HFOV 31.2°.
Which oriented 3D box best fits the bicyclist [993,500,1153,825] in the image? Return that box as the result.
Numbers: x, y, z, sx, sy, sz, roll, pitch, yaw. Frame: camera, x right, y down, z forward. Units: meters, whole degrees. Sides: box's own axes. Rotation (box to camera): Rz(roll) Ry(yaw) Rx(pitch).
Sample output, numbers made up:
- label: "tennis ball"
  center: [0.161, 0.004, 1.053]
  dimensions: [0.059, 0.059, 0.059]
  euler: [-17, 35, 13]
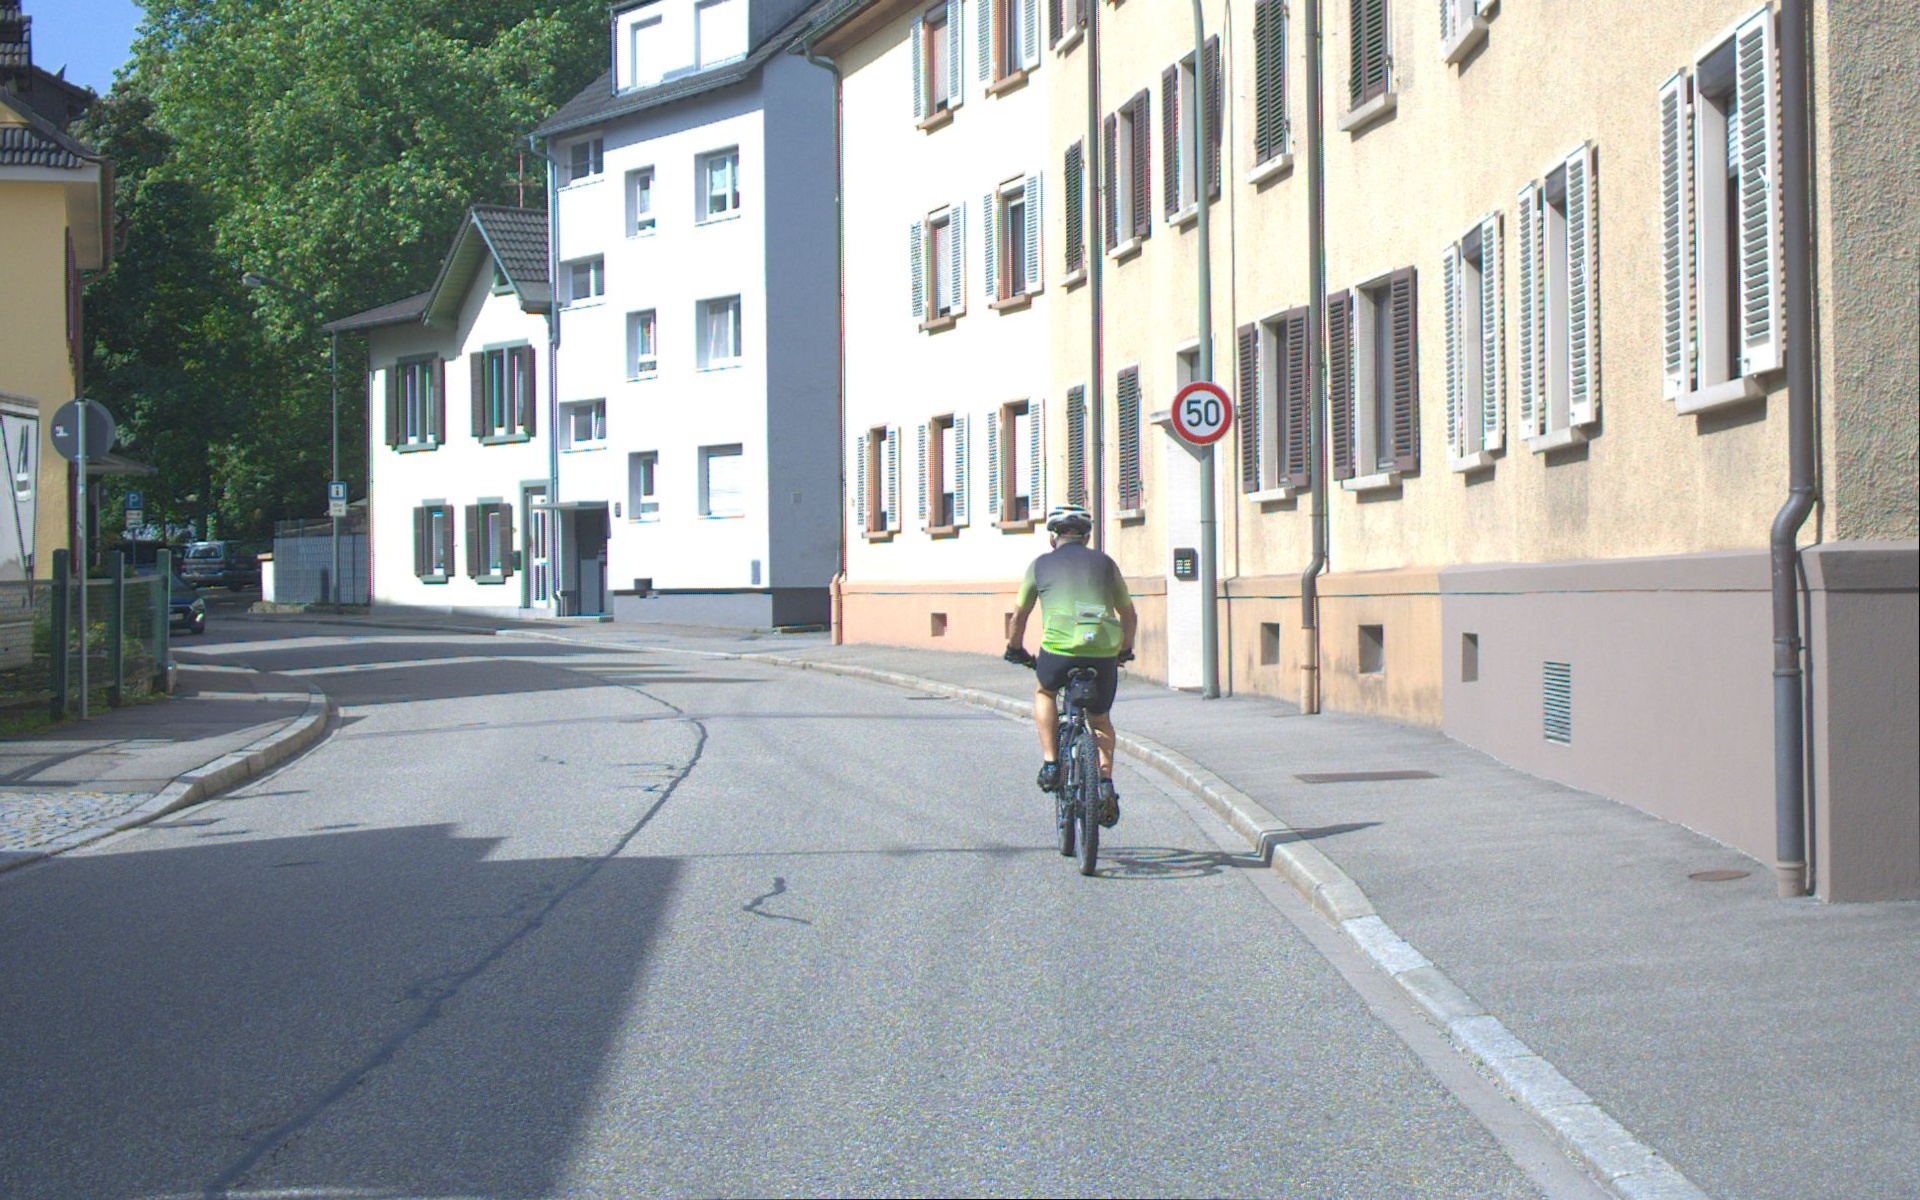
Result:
- label: "bicyclist"
  center: [0.539, 0.294, 16.661]
  dimensions: [0.685, 1.526, 0.716]
  euler: [-1, 0, -3]

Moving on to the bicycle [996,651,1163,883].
- label: "bicycle"
  center: [0.564, 0.788, 16.743]
  dimensions: [0.698, 1.032, 1.471]
  euler: [0, 1, -3]

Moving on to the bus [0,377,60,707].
- label: "bus"
  center: [-10.636, -0.557, 31.763]
  dimensions: [2.820, 3.217, 9.037]
  euler: [1, 1, -4]

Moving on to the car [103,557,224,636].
- label: "car"
  center: [-16.518, -0.078, 71.141]
  dimensions: [1.747, 1.448, 4.028]
  euler: [-5, 2, -22]
